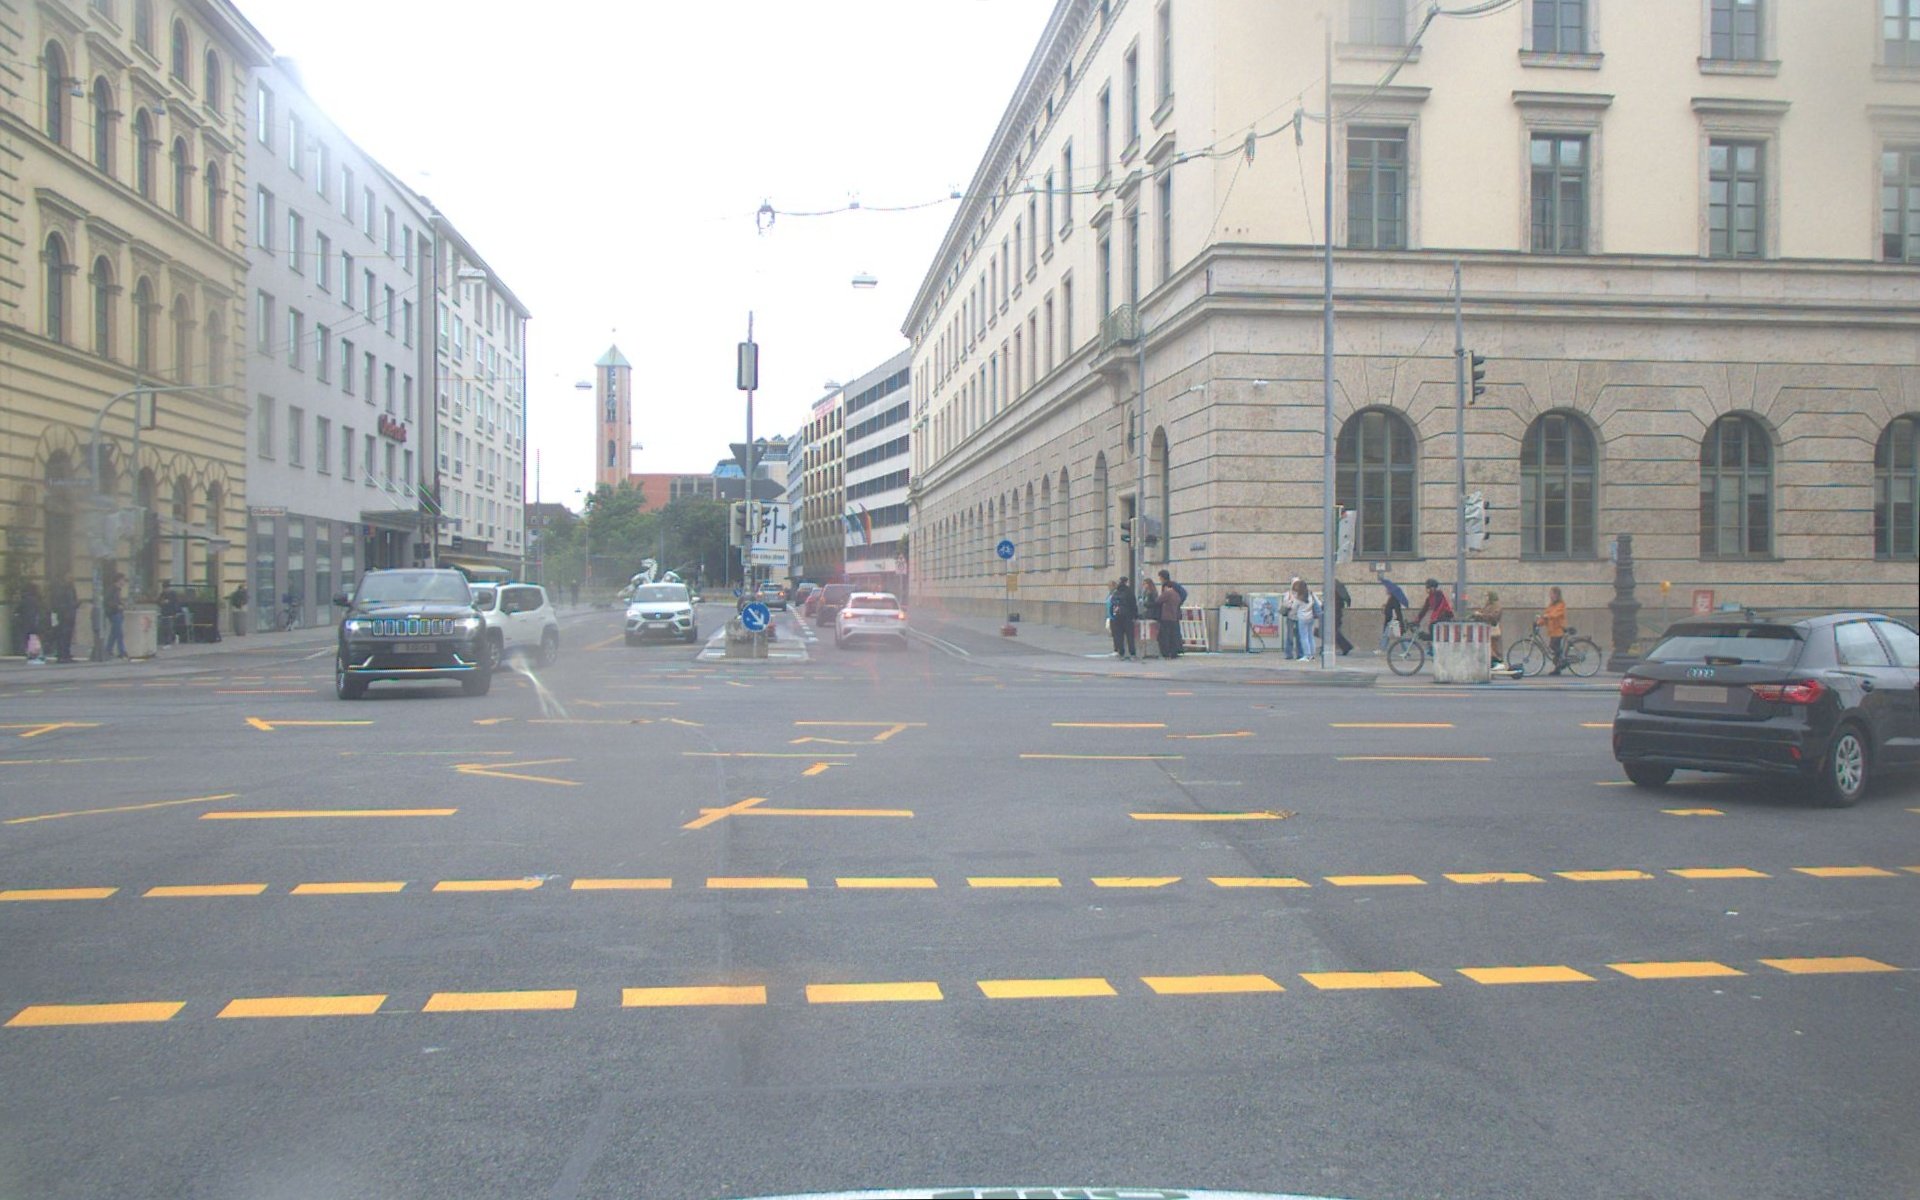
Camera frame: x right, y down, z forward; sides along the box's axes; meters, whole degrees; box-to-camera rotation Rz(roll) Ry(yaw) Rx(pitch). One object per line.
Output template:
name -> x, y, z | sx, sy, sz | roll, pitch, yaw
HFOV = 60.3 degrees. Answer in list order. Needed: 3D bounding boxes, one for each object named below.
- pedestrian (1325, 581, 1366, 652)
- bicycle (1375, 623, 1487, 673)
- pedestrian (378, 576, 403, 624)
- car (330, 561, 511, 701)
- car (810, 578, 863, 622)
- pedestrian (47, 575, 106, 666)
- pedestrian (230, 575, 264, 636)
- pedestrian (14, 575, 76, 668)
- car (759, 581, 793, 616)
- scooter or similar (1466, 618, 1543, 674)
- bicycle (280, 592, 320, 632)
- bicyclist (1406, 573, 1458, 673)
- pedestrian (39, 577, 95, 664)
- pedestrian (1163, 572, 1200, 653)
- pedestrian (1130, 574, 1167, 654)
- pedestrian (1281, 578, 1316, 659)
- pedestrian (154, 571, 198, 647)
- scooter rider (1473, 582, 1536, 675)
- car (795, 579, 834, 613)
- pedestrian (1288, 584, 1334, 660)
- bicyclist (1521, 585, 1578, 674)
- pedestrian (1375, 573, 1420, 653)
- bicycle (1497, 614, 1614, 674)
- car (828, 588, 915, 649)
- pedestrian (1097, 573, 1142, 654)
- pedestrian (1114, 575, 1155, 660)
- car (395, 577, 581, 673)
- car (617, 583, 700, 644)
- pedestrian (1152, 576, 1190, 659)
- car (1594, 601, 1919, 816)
pedestrian -> 8.576, 0.356, 36.806 | 0.651, 1.554, 0.819 | 1, 0, -3
bicycle -> 8.920, 0.904, 31.366 | 1.933, 0.895, 0.661 | 1, 0, -4
pedestrian -> -21.624, 0.007, 62.759 | 0.723, 1.802, 0.735 | 1, 0, -7
car -> -7.487, 0.362, 23.363 | 1.960, 1.765, 4.571 | 0, 1, -12
car -> -4.765, -0.012, 63.551 | 1.829, 1.629, 3.845 | 0, 1, -7
pedestrian -> -17.975, 0.411, 33.673 | 0.718, 1.802, 0.740 | 1, 0, 14
pedestrian -> -21.444, 0.163, 49.741 | 0.723, 1.802, 0.735 | 1, 0, -7
pedestrian -> -18.205, 0.417, 32.922 | 0.718, 1.802, 0.761 | 1, 0, 14
car -> -10.941, -0.125, 98.401 | 1.956, 2.049, 3.994 | 0, 1, -7
scooter or similar -> 9.929, 0.834, 30.178 | 1.187, 0.982, 0.587 | 1, 0, -6
bicycle -> -21.831, 0.378, 54.755 | 0.586, 1.264, 2.197 | 1, 1, -4
bicyclist -> 8.941, 0.427, 31.360 | 0.729, 1.874, 0.660 | 1, 0, -4
pedestrian -> -19.005, 0.430, 35.214 | 0.721, 1.802, 0.737 | 1, 0, 14
pedestrian -> 4.954, 0.273, 36.945 | 0.572, 1.786, 0.819 | 1, 0, 24
pedestrian -> 4.326, 0.314, 37.890 | 0.800, 1.786, 0.586 | 1, 0, 7
pedestrian -> 7.268, 0.388, 35.502 | 0.603, 1.701, 0.542 | 1, 0, 1
pedestrian -> -19.064, 0.212, 40.234 | 0.723, 1.802, 0.735 | 1, 0, -7
scooter rider -> 9.932, 0.515, 30.180 | 0.914, 1.650, 0.592 | 1, 0, -5
car -> -7.235, -0.212, 81.964 | 1.829, 1.629, 3.845 | 0, 1, -7
pedestrian -> 7.378, 0.455, 34.797 | 0.800, 1.584, 0.667 | 1, 0, 1
bicyclist -> 11.168, 0.549, 31.366 | 0.729, 1.643, 0.794 | 1, 0, -4
pedestrian -> 9.603, 0.271, 36.329 | 0.701, 1.723, 0.819 | 1, 0, -5
bicycle -> 11.294, 0.829, 31.379 | 1.919, 1.058, 0.794 | 1, 0, -4
car -> -2.369, 0.447, 43.166 | 1.780, 1.449, 4.443 | 2, 1, -9
pedestrian -> 3.587, 0.305, 37.196 | 0.811, 1.786, 0.578 | 1, 0, -38
pedestrian -> 3.760, 0.370, 35.674 | 0.800, 1.786, 0.680 | 1, 0, 9
car -> -8.944, 0.419, 31.730 | 1.755, 1.707, 4.237 | 0, 1, 10
car -> -8.024, 0.316, 44.298 | 1.956, 1.550, 4.226 | 0, 1, -7
pedestrian -> 4.602, 0.371, 36.060 | 0.572, 1.786, 0.819 | 1, 0, 24
car -> 6.950, 0.742, 13.326 | 3.965, 1.412, 1.841 | 0, 1, -42
